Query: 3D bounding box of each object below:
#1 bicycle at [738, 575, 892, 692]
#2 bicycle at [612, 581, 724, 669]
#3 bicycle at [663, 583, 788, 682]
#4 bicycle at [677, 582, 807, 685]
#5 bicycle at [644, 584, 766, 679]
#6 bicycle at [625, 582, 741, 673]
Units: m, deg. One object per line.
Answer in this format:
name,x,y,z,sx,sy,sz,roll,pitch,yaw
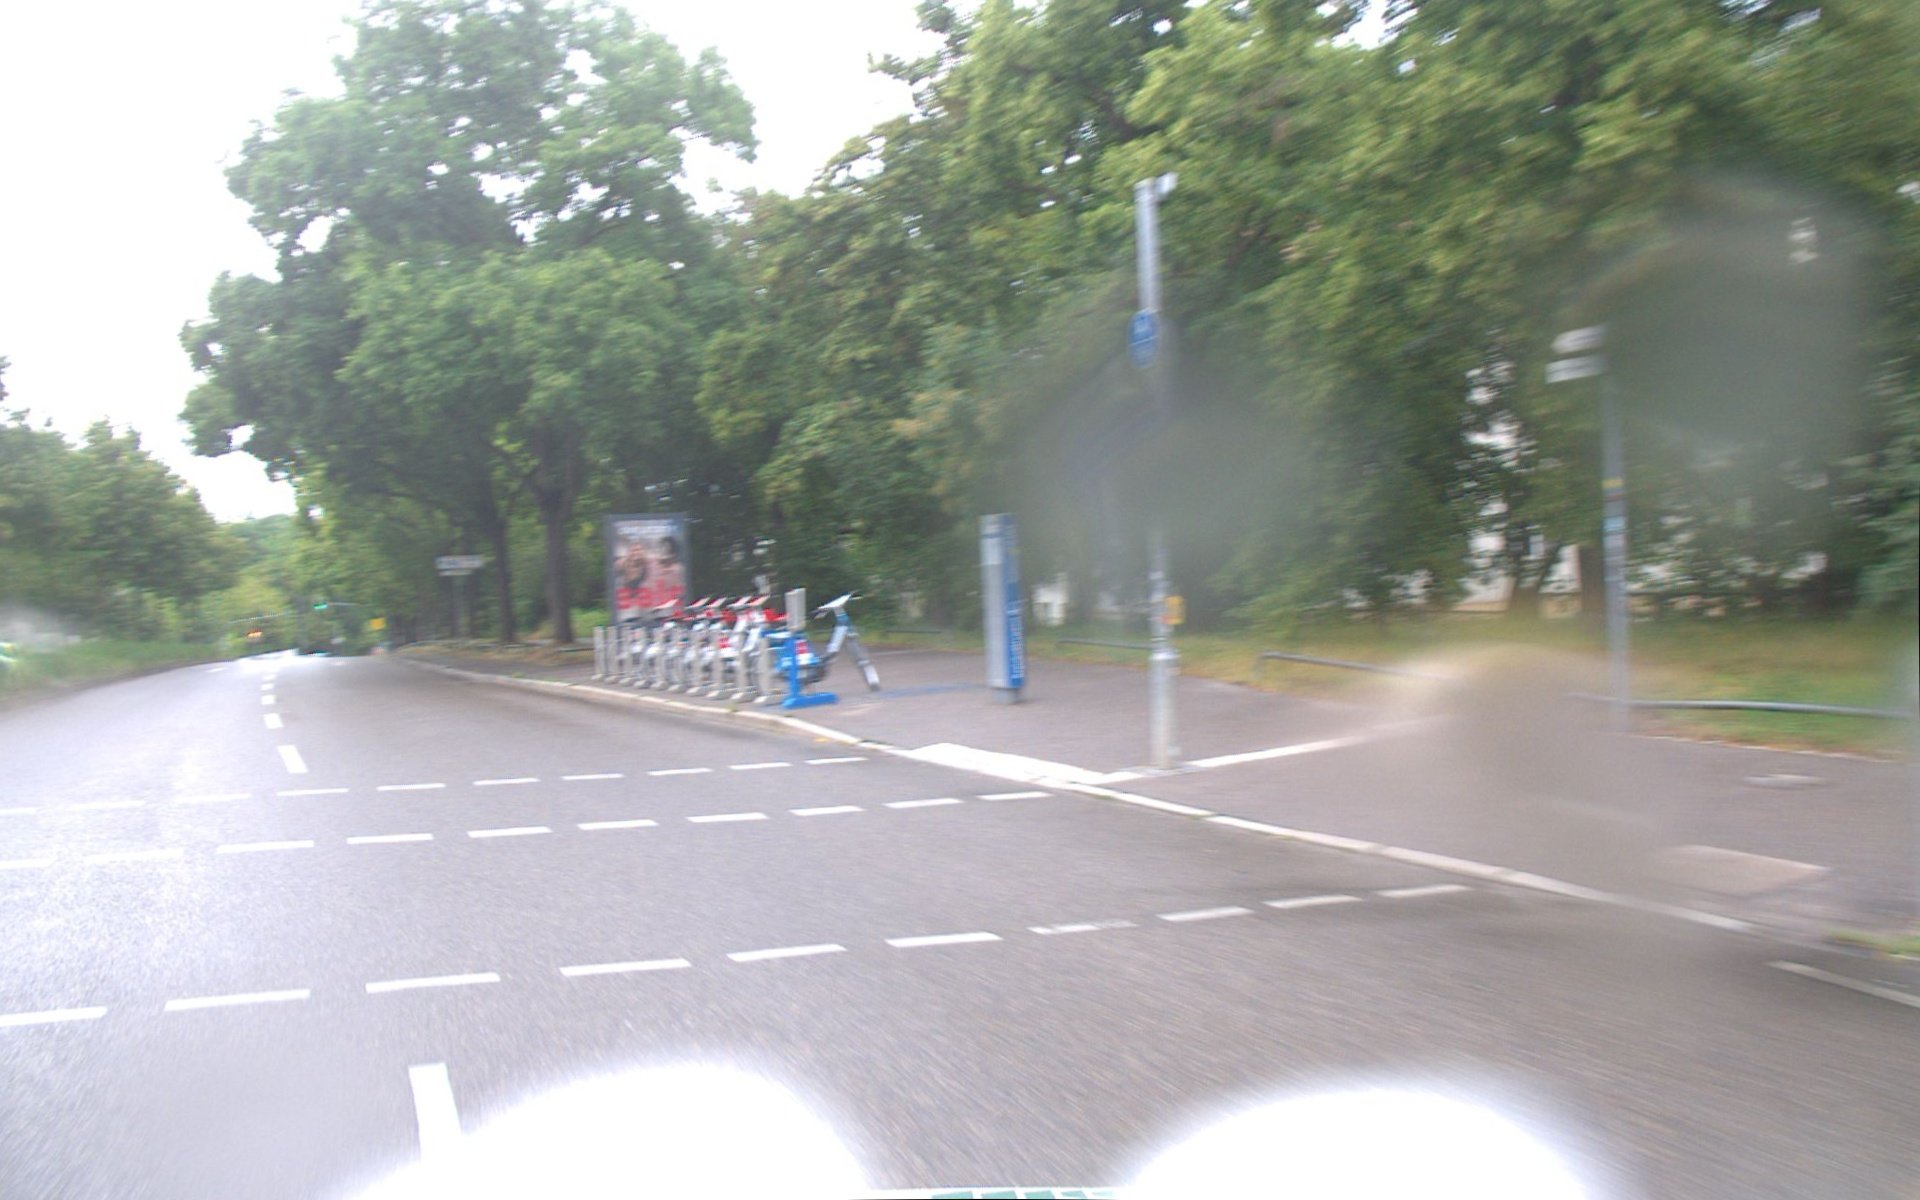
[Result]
bicycle,-1.641,0.370,18.759,1.578,1.150,0.552,-6,1,-28
bicycle,-4.323,0.362,24.500,1.469,1.150,0.552,-6,1,-28
bicycle,-3.100,0.420,21.895,1.469,1.150,0.552,-6,1,-28
bicycle,-2.781,0.416,21.154,1.469,1.150,0.552,-6,1,-28
bicycle,-3.497,0.420,22.707,1.469,1.150,0.552,-6,1,-28
bicycle,-3.970,0.385,23.709,1.469,1.150,0.552,-6,1,-28
